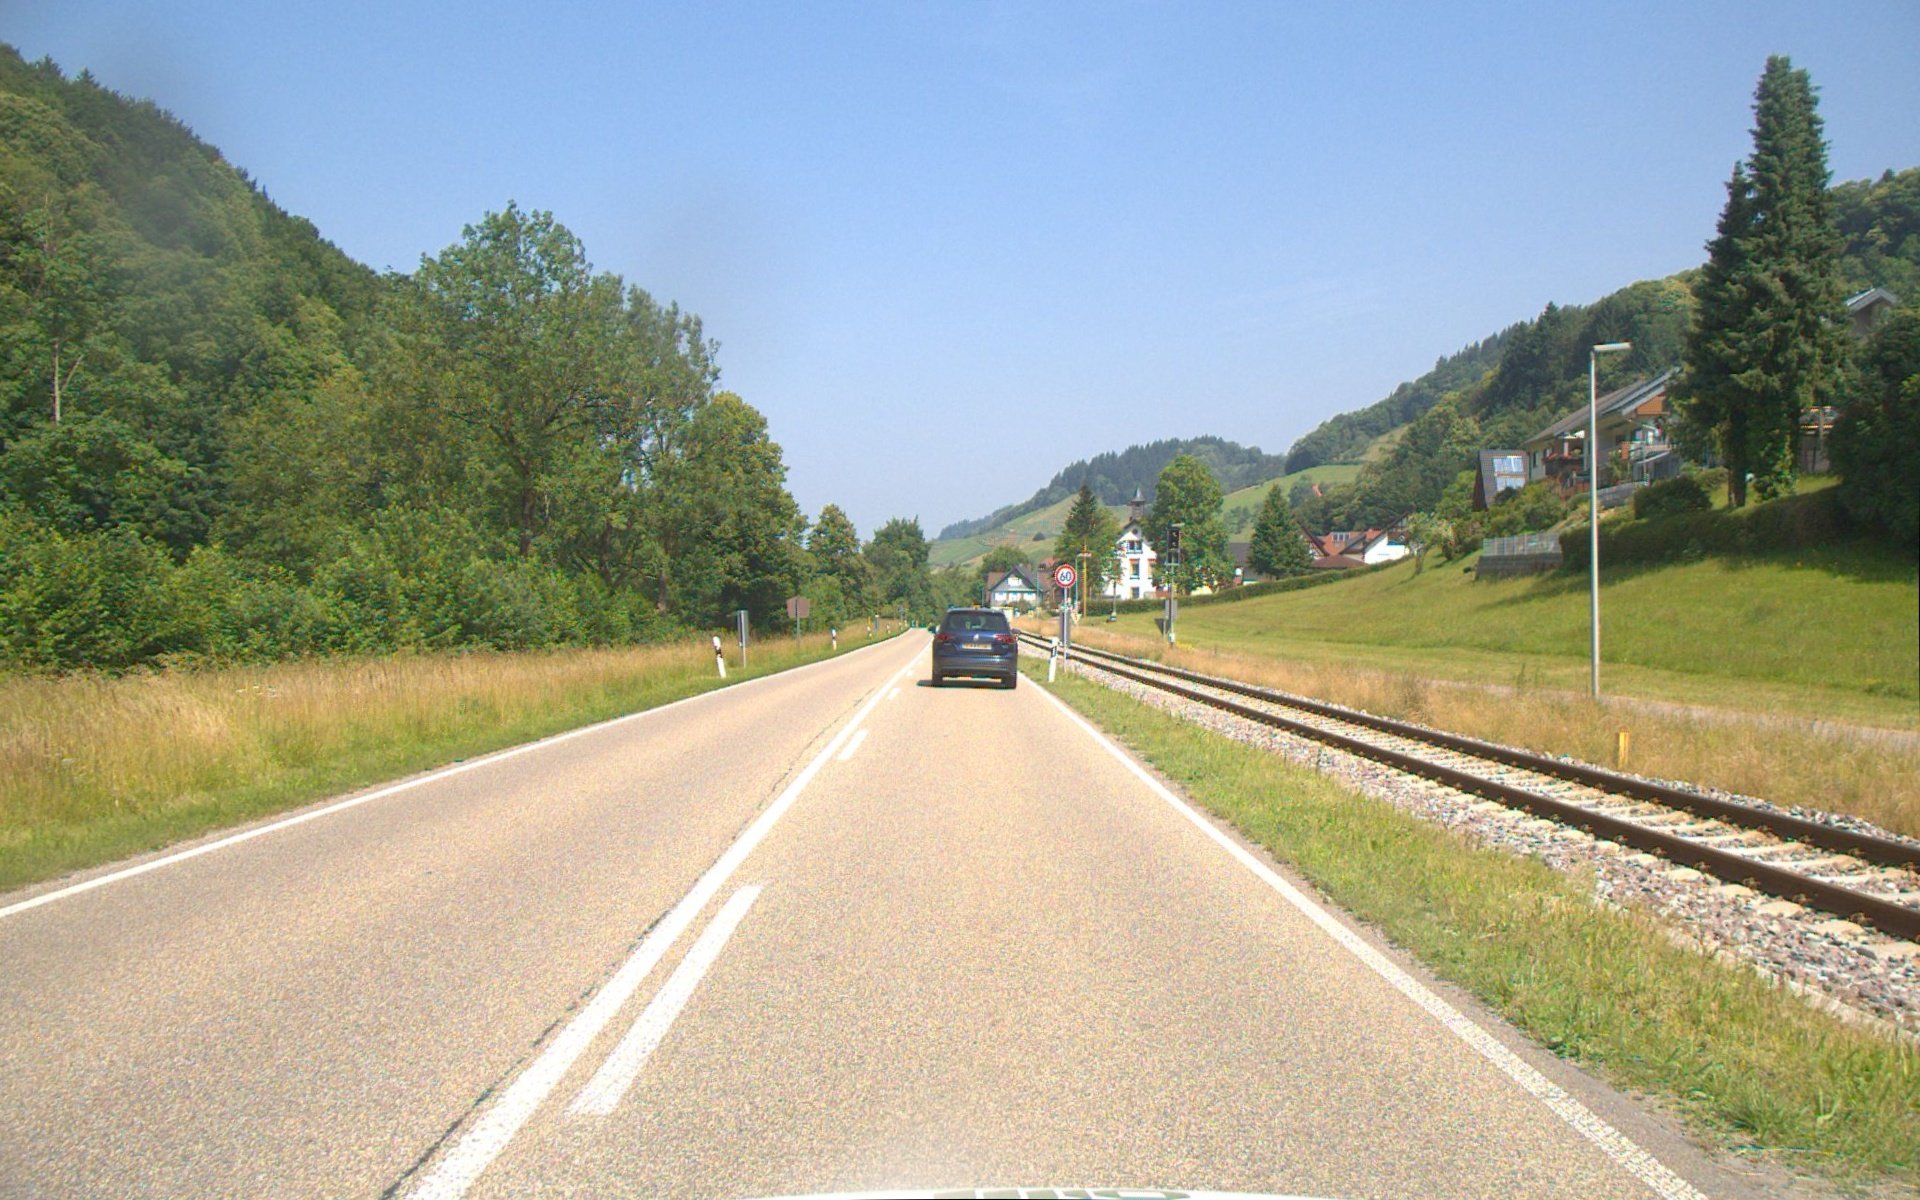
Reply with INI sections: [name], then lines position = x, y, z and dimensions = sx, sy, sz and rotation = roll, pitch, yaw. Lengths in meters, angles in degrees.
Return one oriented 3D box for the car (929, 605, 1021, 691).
[car]
position = 0.279, 0.996, 35.461
dimensions = 1.815, 1.678, 4.139
rotation = 1, -1, -1
